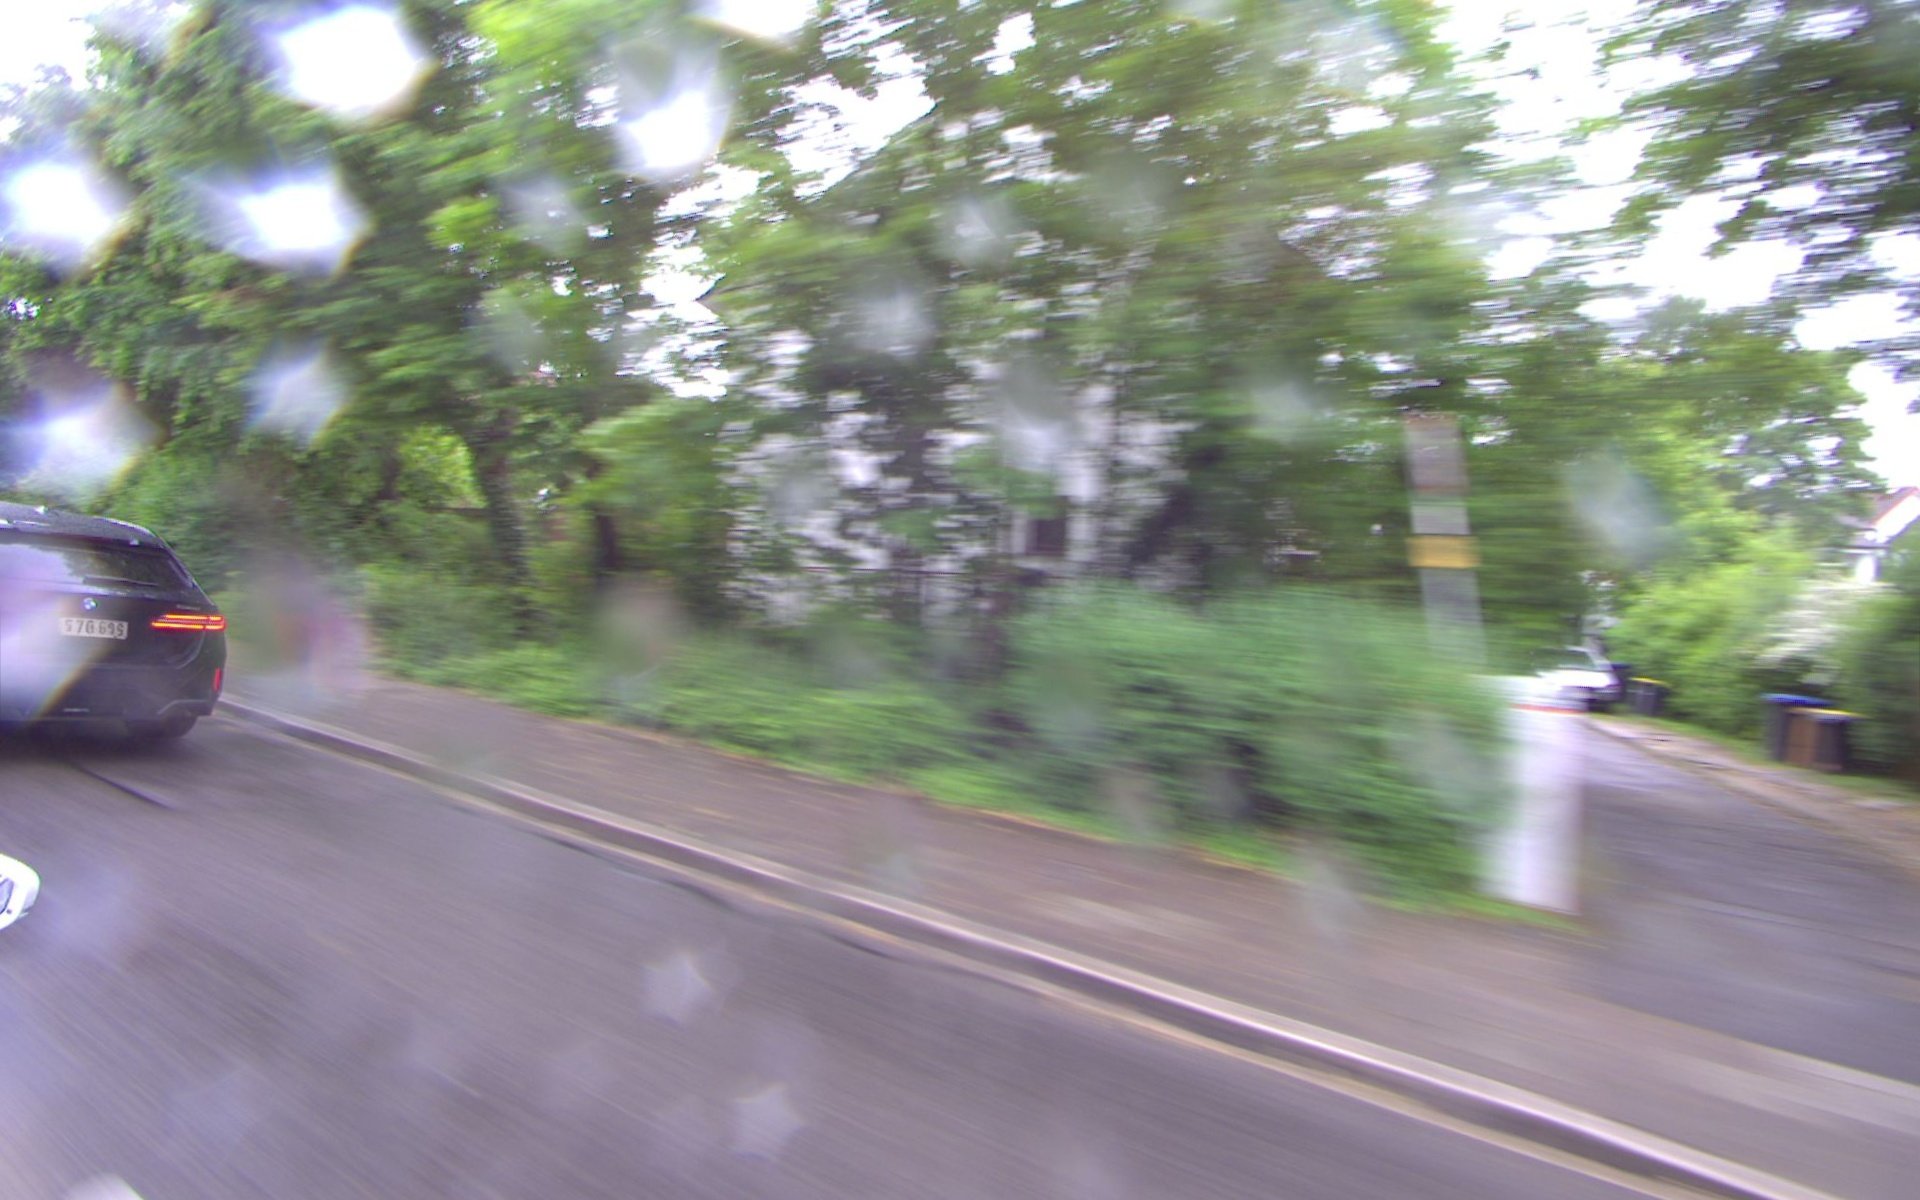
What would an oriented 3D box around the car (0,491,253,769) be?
[{"bbox_3d":[-6.775,0.054,6.831,3.611,1.553,1.769,6,-3,31],"label":"car"}]
